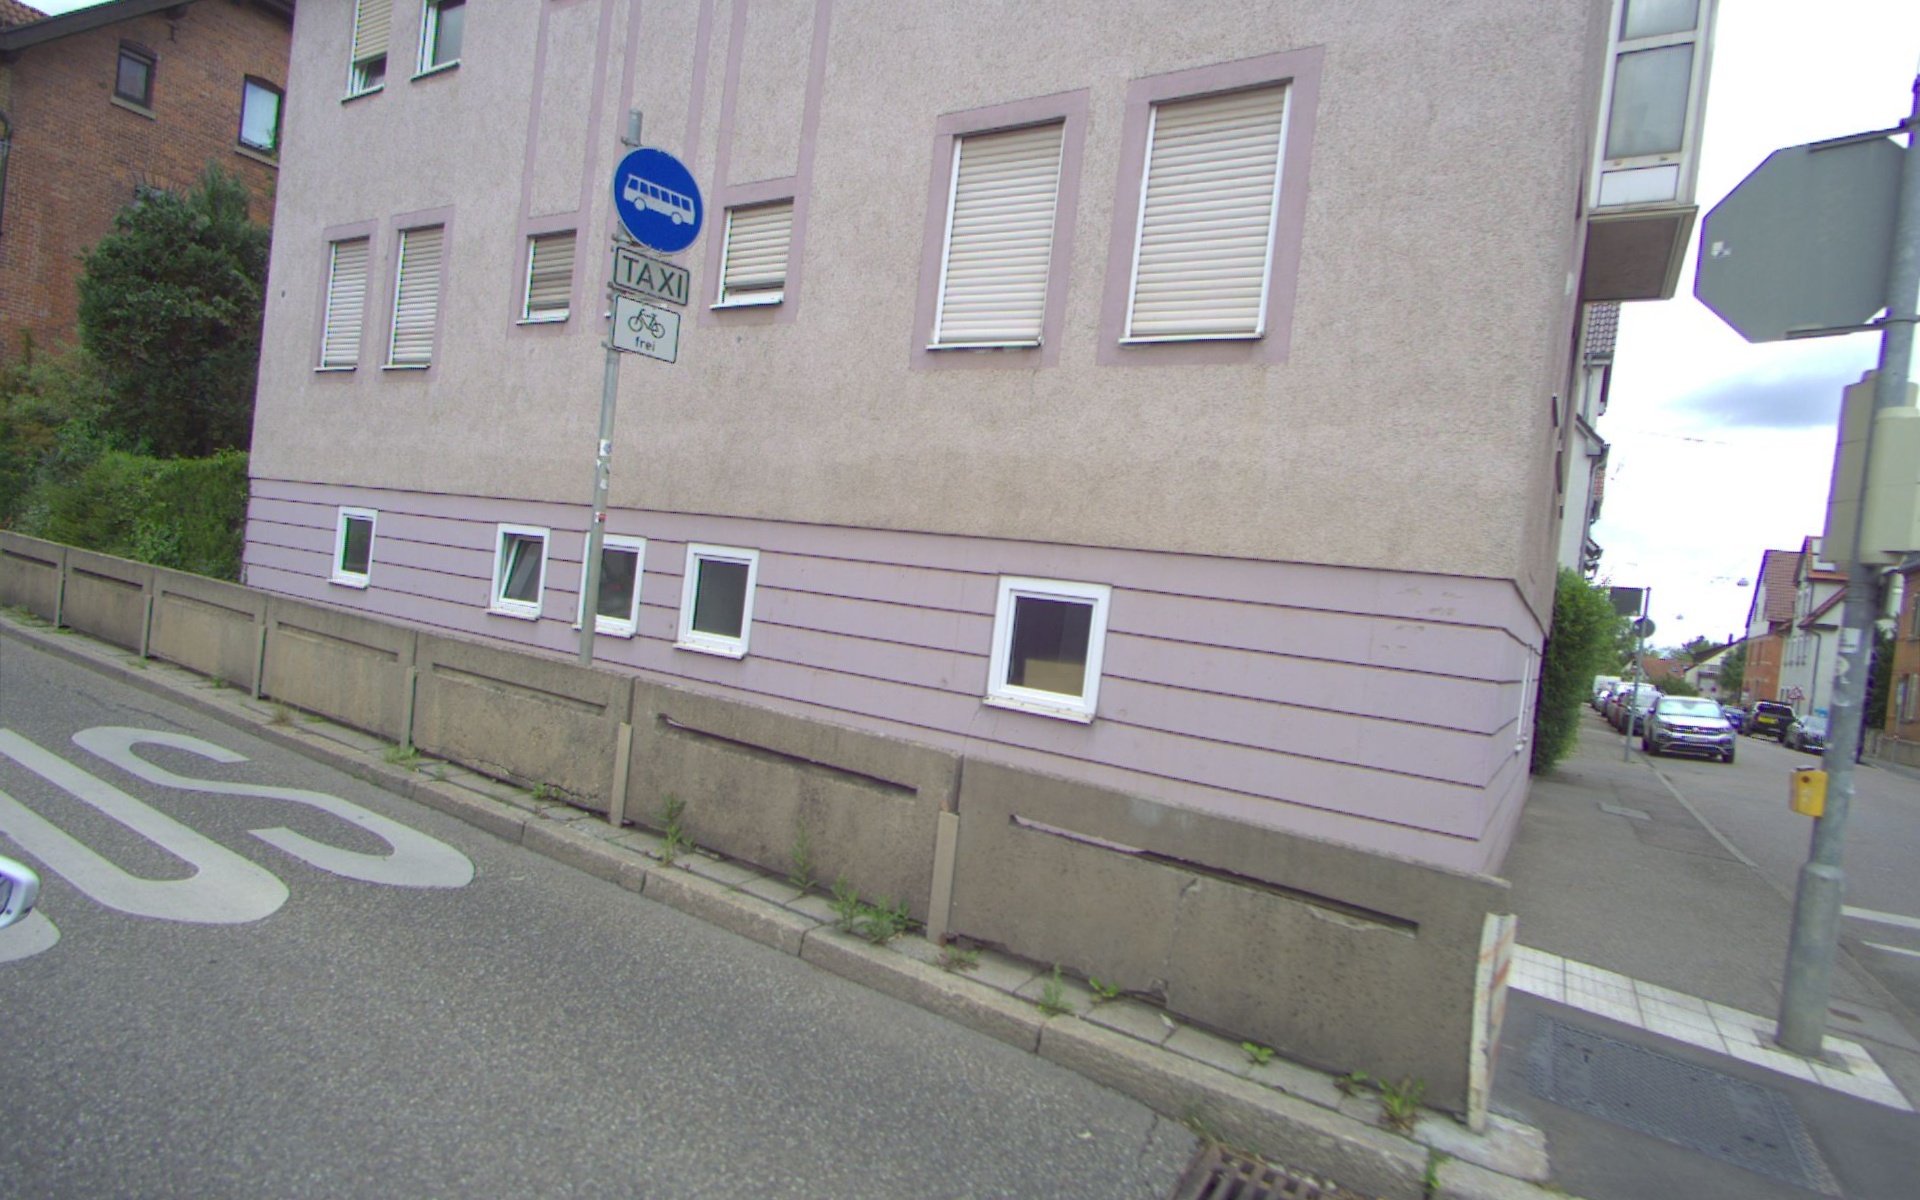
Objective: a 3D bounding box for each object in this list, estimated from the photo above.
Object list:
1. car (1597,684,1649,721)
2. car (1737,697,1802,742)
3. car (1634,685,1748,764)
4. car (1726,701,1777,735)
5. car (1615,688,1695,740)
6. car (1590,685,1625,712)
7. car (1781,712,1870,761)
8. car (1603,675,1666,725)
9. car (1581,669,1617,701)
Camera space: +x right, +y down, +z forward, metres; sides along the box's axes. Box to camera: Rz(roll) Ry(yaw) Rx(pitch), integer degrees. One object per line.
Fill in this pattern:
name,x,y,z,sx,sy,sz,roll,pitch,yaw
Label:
car,36.170,5.568,54.987,1.966,1.638,3.994,7,-1,30
car,39.818,5.851,49.558,1.847,1.872,3.992,7,-1,32
car,19.017,3.189,26.343,1.858,1.638,3.994,7,-1,30
car,45.808,6.807,58.292,1.692,1.659,3.992,7,-1,32
car,25.626,4.185,37.220,1.966,1.522,3.994,7,-1,30
car,43.396,6.618,67.497,1.708,1.479,3.993,7,-1,32
car,33.514,5.231,39.057,1.847,1.459,3.993,7,-1,32
car,31.053,4.601,46.407,1.966,1.905,3.994,7,-1,30
car,49.804,6.651,78.483,1.966,2.150,3.994,7,-1,31
